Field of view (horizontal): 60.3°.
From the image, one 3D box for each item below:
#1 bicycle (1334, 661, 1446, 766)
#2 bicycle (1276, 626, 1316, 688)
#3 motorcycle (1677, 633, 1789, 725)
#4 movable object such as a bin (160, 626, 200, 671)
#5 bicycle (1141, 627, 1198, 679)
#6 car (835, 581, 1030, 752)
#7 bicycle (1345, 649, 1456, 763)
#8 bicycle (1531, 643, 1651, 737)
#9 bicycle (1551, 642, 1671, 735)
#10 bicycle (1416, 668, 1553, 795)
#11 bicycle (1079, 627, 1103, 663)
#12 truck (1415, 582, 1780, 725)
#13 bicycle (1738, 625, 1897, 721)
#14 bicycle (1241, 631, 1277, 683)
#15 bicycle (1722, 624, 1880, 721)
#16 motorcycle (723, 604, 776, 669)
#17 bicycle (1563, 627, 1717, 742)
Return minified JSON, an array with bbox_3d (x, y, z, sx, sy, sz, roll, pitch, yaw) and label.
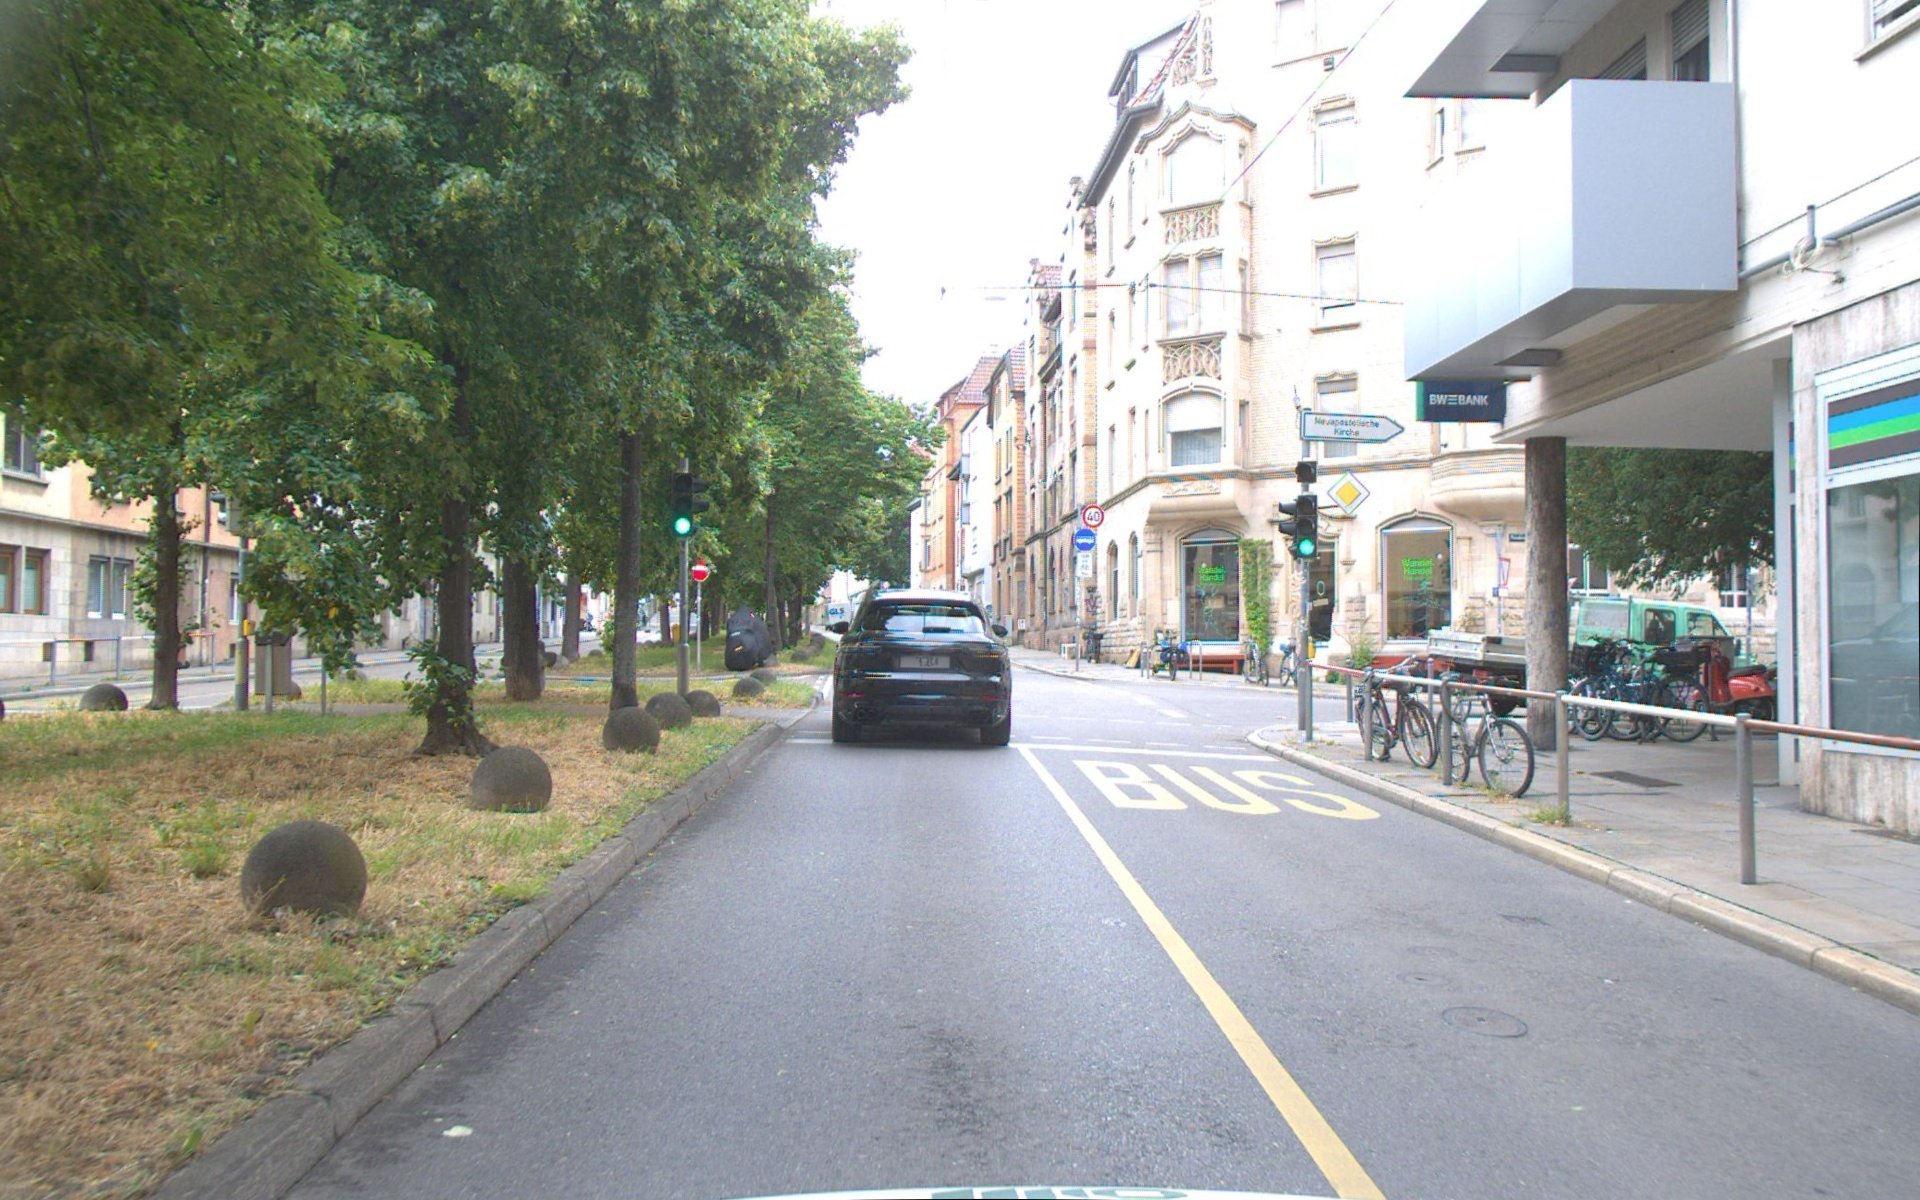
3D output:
[{"bbox_3d":[4.254,1.104,16.474,0.281,0.948,1.754,1,-1,-14],"label":"bicycle"},{"bbox_3d":[7.478,1.255,36.876,0.437,1.181,1.834,-1,4,-3],"label":"bicycle"},{"bbox_3d":[9.963,0.992,21.377,0.558,1.125,1.801,1,-1,-1],"label":"motorcycle"},{"bbox_3d":[-19.132,1.182,40.583,0.678,1.078,0.689,1,-2,-6],"label":"movable object such as a bin"},{"bbox_3d":[4.895,1.221,38.807,0.861,1.149,2.978,1,-1,-2],"label":"bicycle"},{"bbox_3d":[-0.429,0.675,18.992,1.954,1.694,3.996,2,0,-5],"label":"car"},{"bbox_3d":[4.446,1.049,16.802,0.281,1.073,1.754,1,-1,-14],"label":"bicycle"},{"bbox_3d":[7.599,1.065,19.996,0.313,1.061,1.751,1,-1,-19],"label":"bicycle"},{"bbox_3d":[7.887,1.056,20.108,0.313,1.061,1.751,1,-1,-19],"label":"bicycle"},{"bbox_3d":[4.384,1.074,13.939,0.557,0.948,1.774,1,-1,-1],"label":"bicycle"},{"bbox_3d":[3.958,1.354,49.994,0.437,1.055,2.247,0,-2,-3],"label":"bicycle"},{"bbox_3d":[10.978,0.911,28.663,5.461,2.170,2.375,3,-1,-12],"label":"truck"},{"bbox_3d":[11.393,0.941,22.069,0.273,1.208,2.314,1,-1,-20],"label":"bicycle"},{"bbox_3d":[6.706,1.272,37.151,0.342,1.077,1.833,3,0,-3],"label":"bicycle"},{"bbox_3d":[11.123,0.935,21.964,0.273,1.208,2.314,1,-1,-20],"label":"bicycle"},{"bbox_3d":[-5.000,0.860,39.502,0.999,1.471,2.246,-1,-1,-1],"label":"motorcycle"},{"bbox_3d":[7.652,0.929,18.680,0.315,1.219,1.741,2,-1,-33],"label":"bicycle"}]
